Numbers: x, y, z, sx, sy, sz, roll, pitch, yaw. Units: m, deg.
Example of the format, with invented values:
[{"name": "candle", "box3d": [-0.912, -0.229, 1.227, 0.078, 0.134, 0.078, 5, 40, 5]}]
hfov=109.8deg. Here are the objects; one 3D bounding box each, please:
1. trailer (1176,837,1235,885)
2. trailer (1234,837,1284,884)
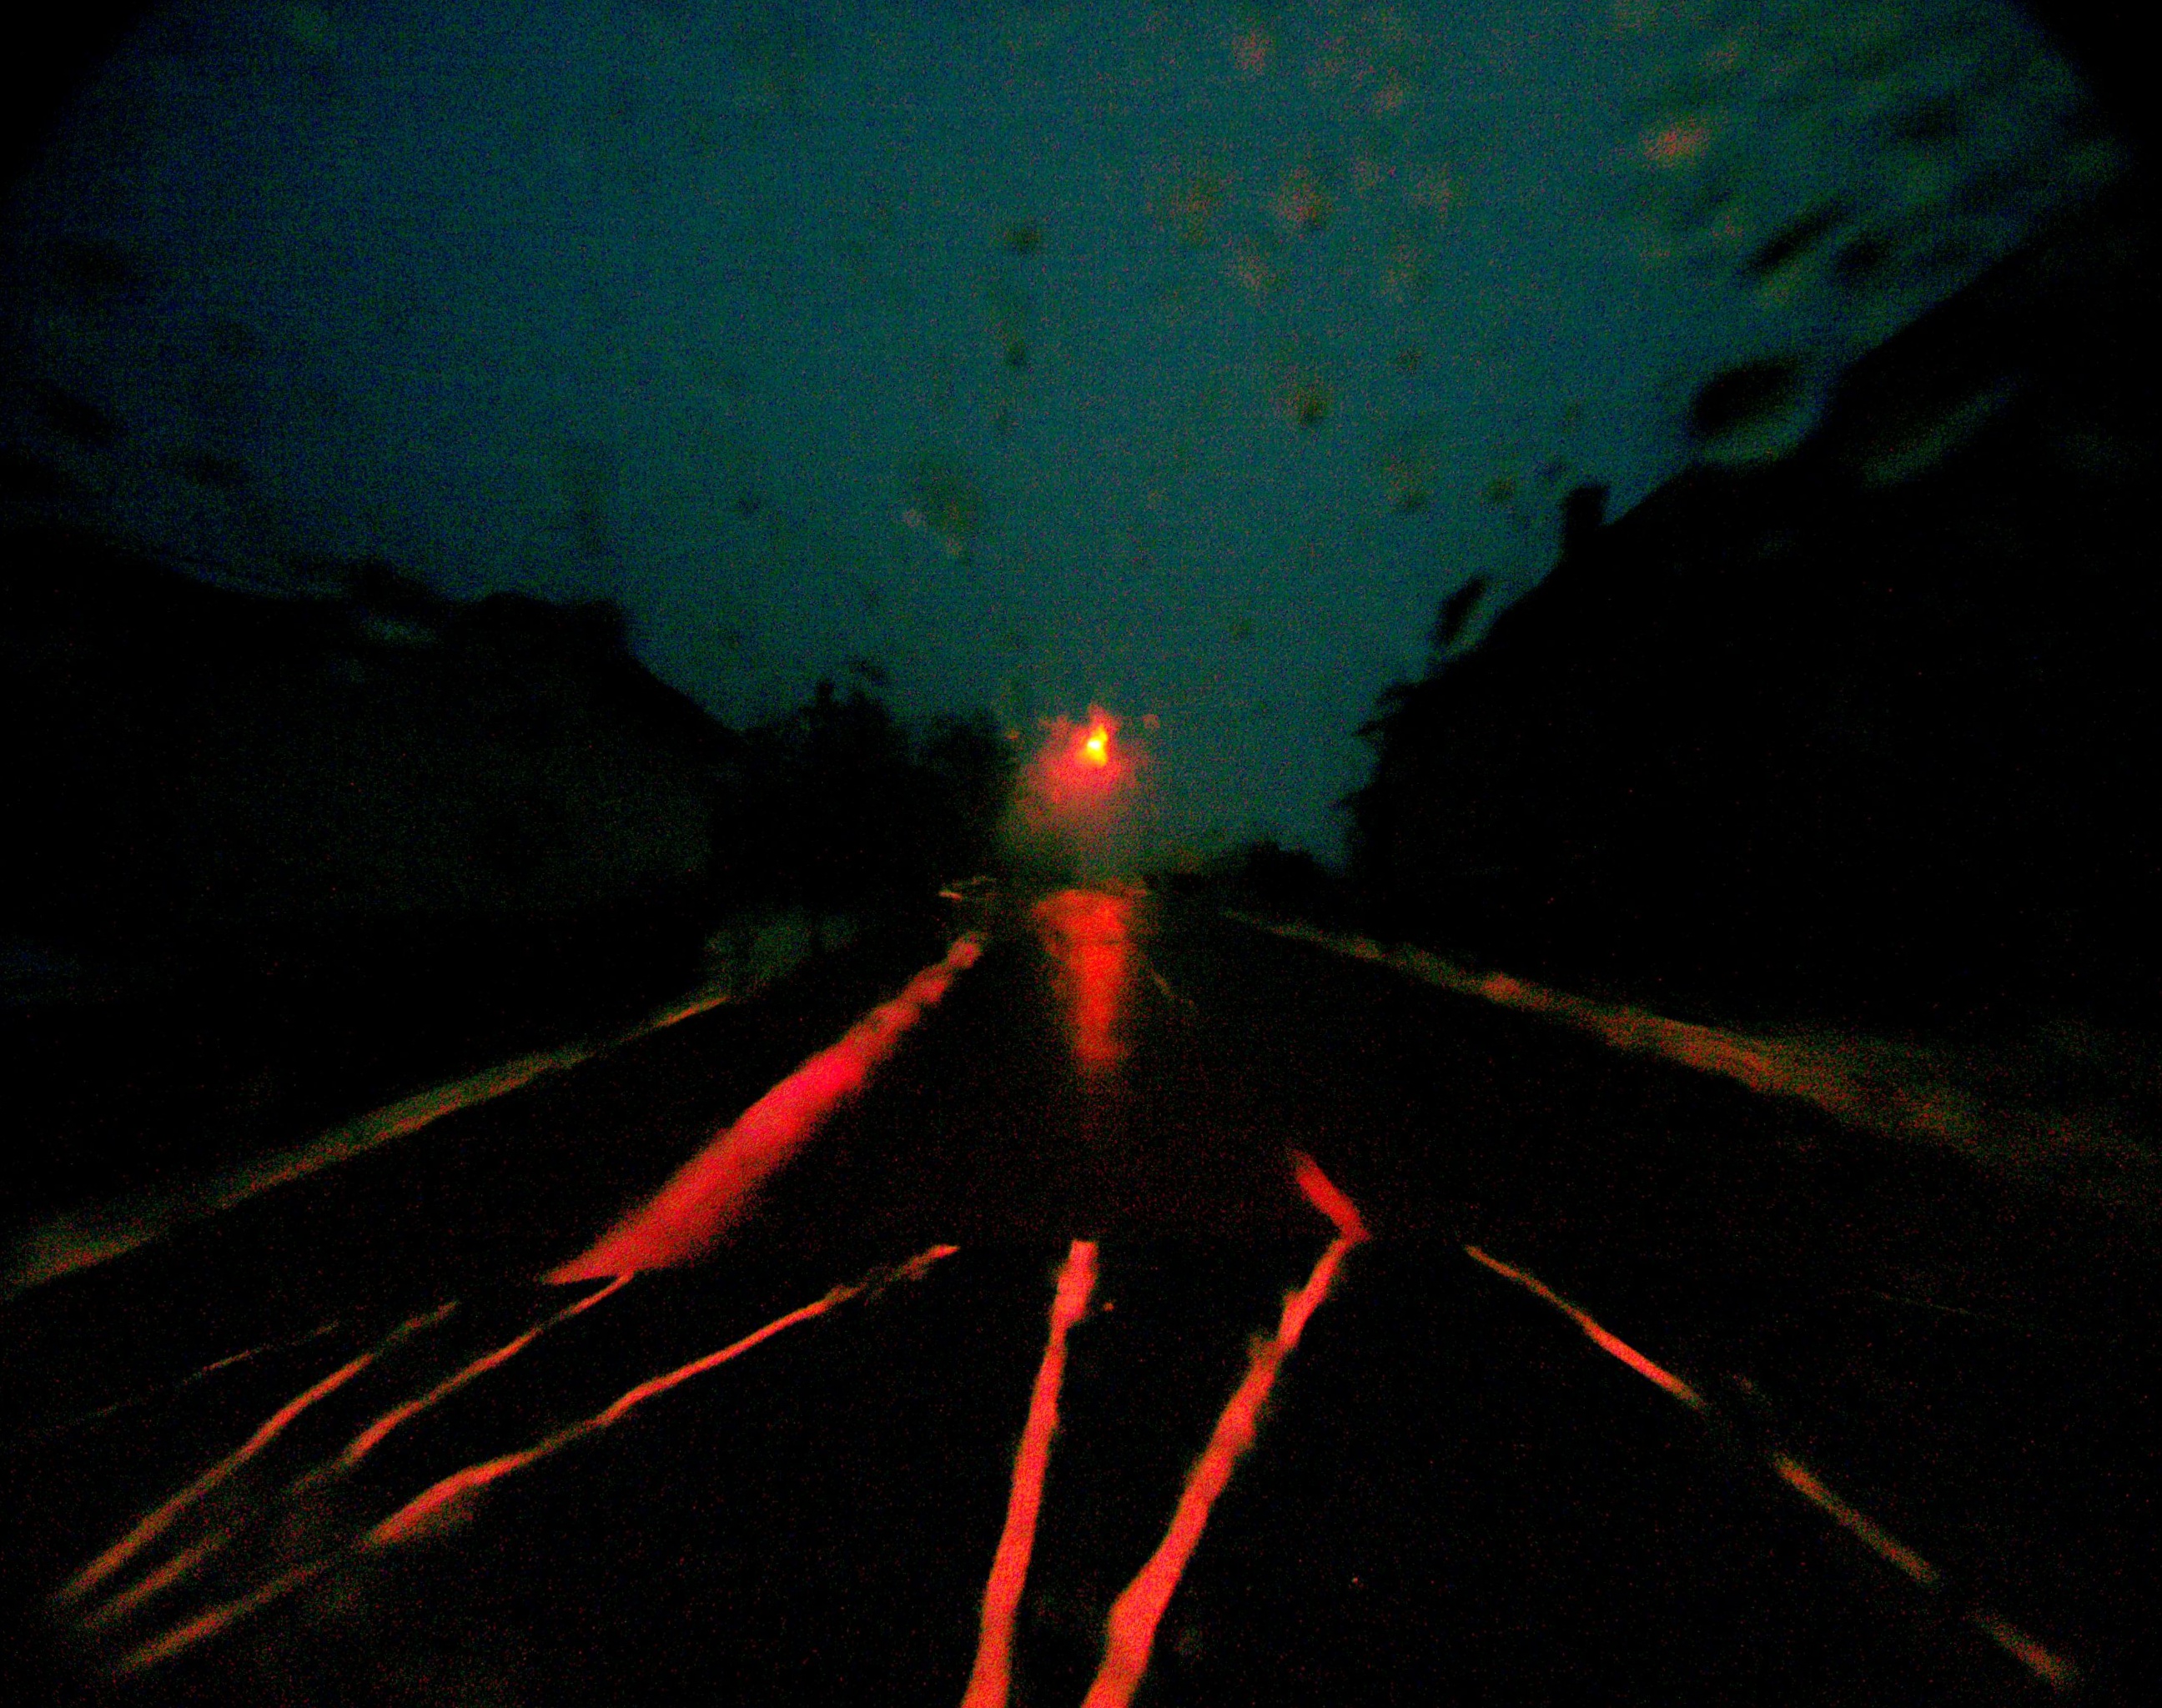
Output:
[{"name": "trailer", "box3d": [7.194, 0.438, 44.222, 1.698, 2.589, 3.438, 3, -2, -25]}, {"name": "trailer", "box3d": [9.962, 0.425, 42.789, 1.998, 2.474, 4.012, 3, -2, 3]}]
